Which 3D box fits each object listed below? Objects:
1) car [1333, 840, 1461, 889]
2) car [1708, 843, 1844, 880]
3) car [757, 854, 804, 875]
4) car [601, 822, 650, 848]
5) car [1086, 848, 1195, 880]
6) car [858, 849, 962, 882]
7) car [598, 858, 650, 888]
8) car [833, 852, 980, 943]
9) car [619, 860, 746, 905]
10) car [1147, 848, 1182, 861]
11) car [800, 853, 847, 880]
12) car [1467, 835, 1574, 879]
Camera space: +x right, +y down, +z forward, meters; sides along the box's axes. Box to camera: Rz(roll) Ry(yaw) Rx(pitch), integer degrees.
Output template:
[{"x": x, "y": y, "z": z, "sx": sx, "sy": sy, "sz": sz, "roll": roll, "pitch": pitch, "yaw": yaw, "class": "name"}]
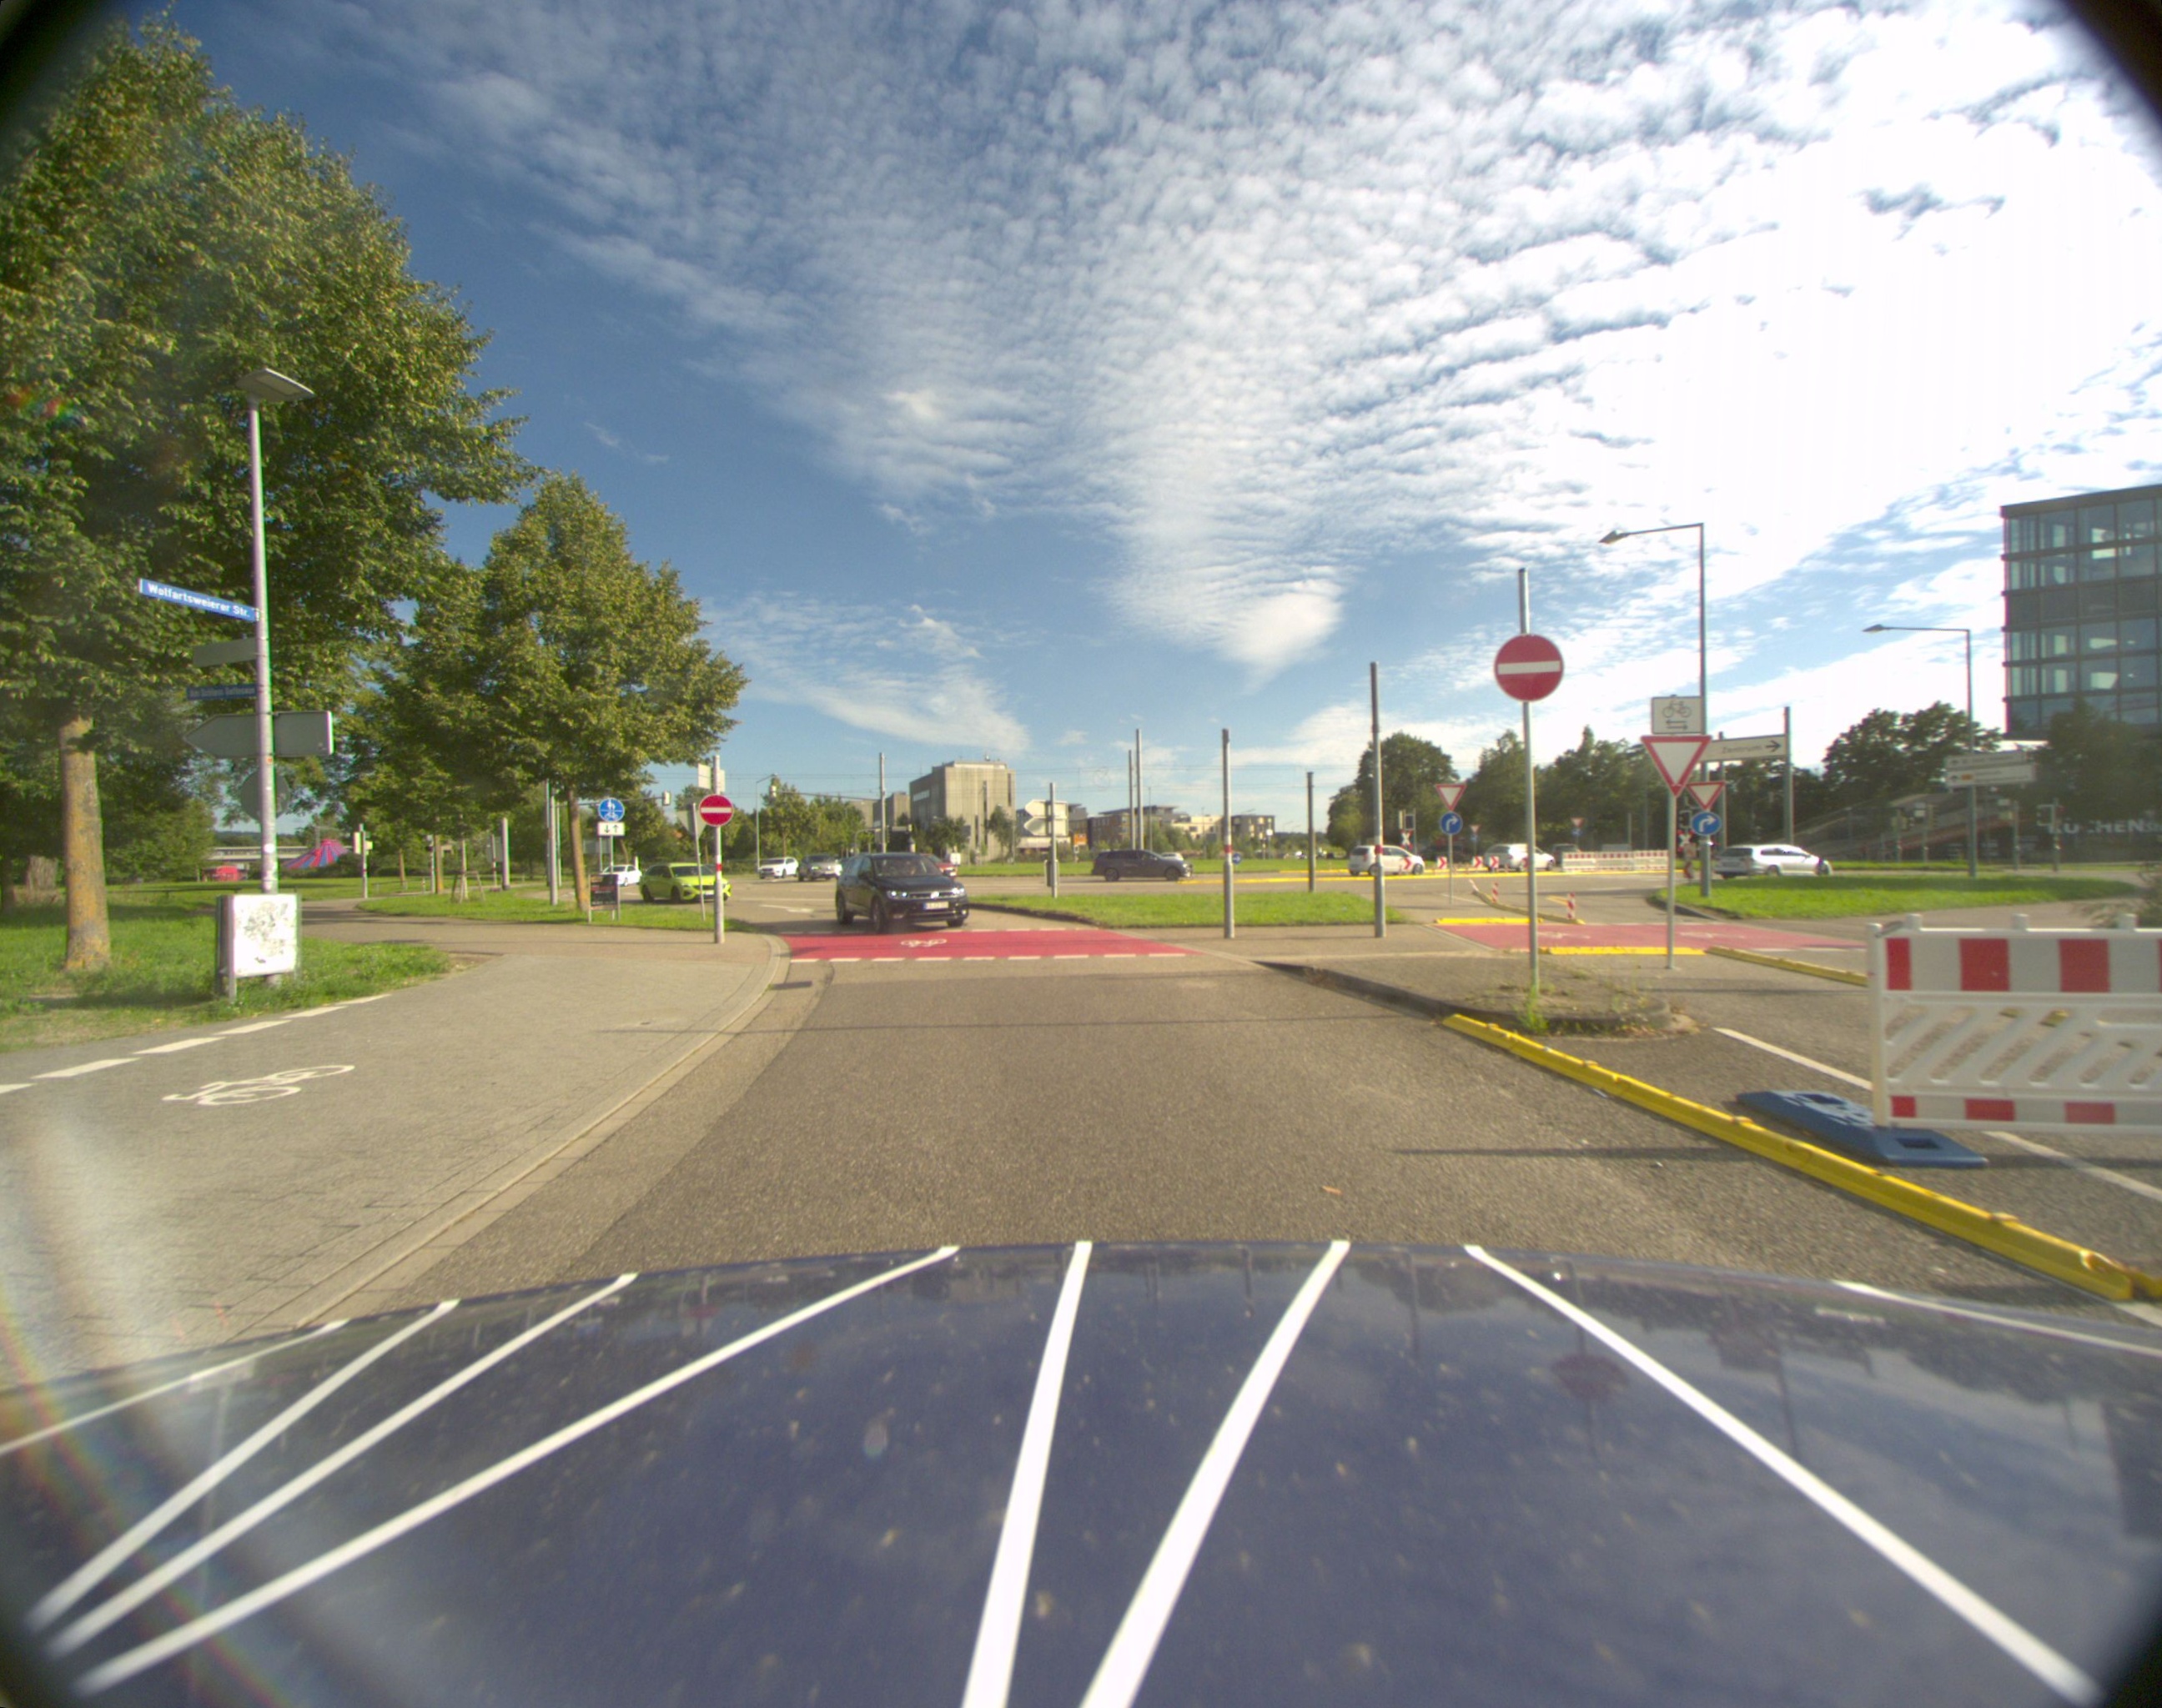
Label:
[{"x": 15.362, "y": 0.474, "z": 37.004, "sx": 5.507, "sy": 2.047, "sz": 2.473, "roll": -2, "pitch": 1, "yaw": -20, "class": "car"}, {"x": 28.444, "y": 0.268, "z": 31.131, "sx": 4.815, "sy": 1.344, "sz": 1.997, "roll": -1, "pitch": 1, "yaw": -18, "class": "car"}, {"x": -23.365, "y": 0.785, "z": 59.208, "sx": 1.987, "sy": 1.519, "sz": 4.252, "roll": -2, "pitch": 1, "yaw": -1, "class": "car"}, {"x": -37.472, "y": -1.526, "z": 62.398, "sx": 2.482, "sy": 1.856, "sz": 6.236, "roll": -3, "pitch": 1, "yaw": -39, "class": "car"}, {"x": 2.794, "y": 0.443, "z": 34.985, "sx": 4.804, "sy": 1.344, "sz": 2.001, "roll": -1, "pitch": 1, "yaw": 10, "class": "car"}, {"x": -8.924, "y": 0.582, "z": 39.662, "sx": 4.857, "sy": 1.515, "sz": 2.310, "roll": -2, "pitch": 1, "yaw": 27, "class": "car"}, {"x": -31.029, "y": 1.225, "z": 51.734, "sx": 1.841, "sy": 1.856, "sz": 5.395, "roll": -3, "pitch": 1, "yaw": -19, "class": "car"}, {"x": -3.963, "y": 0.845, "z": 16.698, "sx": 1.825, "sy": 1.648, "sz": 4.232, "roll": -3, "pitch": 1, "yaw": -31, "class": "car"}, {"x": -15.099, "y": 1.031, "z": 28.602, "sx": 5.972, "sy": 1.460, "sz": 2.046, "roll": -2, "pitch": 1, "yaw": 40, "class": "car"}, {"x": 10.100, "y": 0.063, "z": 92.510, "sx": 3.997, "sy": 1.546, "sz": 1.886, "roll": -1, "pitch": 1, "yaw": -1, "class": "car"}, {"x": -15.357, "y": 0.704, "z": 45.217, "sx": 2.003, "sy": 1.477, "sz": 4.254, "roll": -2, "pitch": 1, "yaw": -27, "class": "car"}, {"x": 23.528, "y": 0.116, "z": 40.647, "sx": 5.814, "sy": 2.047, "sz": 2.472, "roll": -3, "pitch": 1, "yaw": -32, "class": "car"}]
